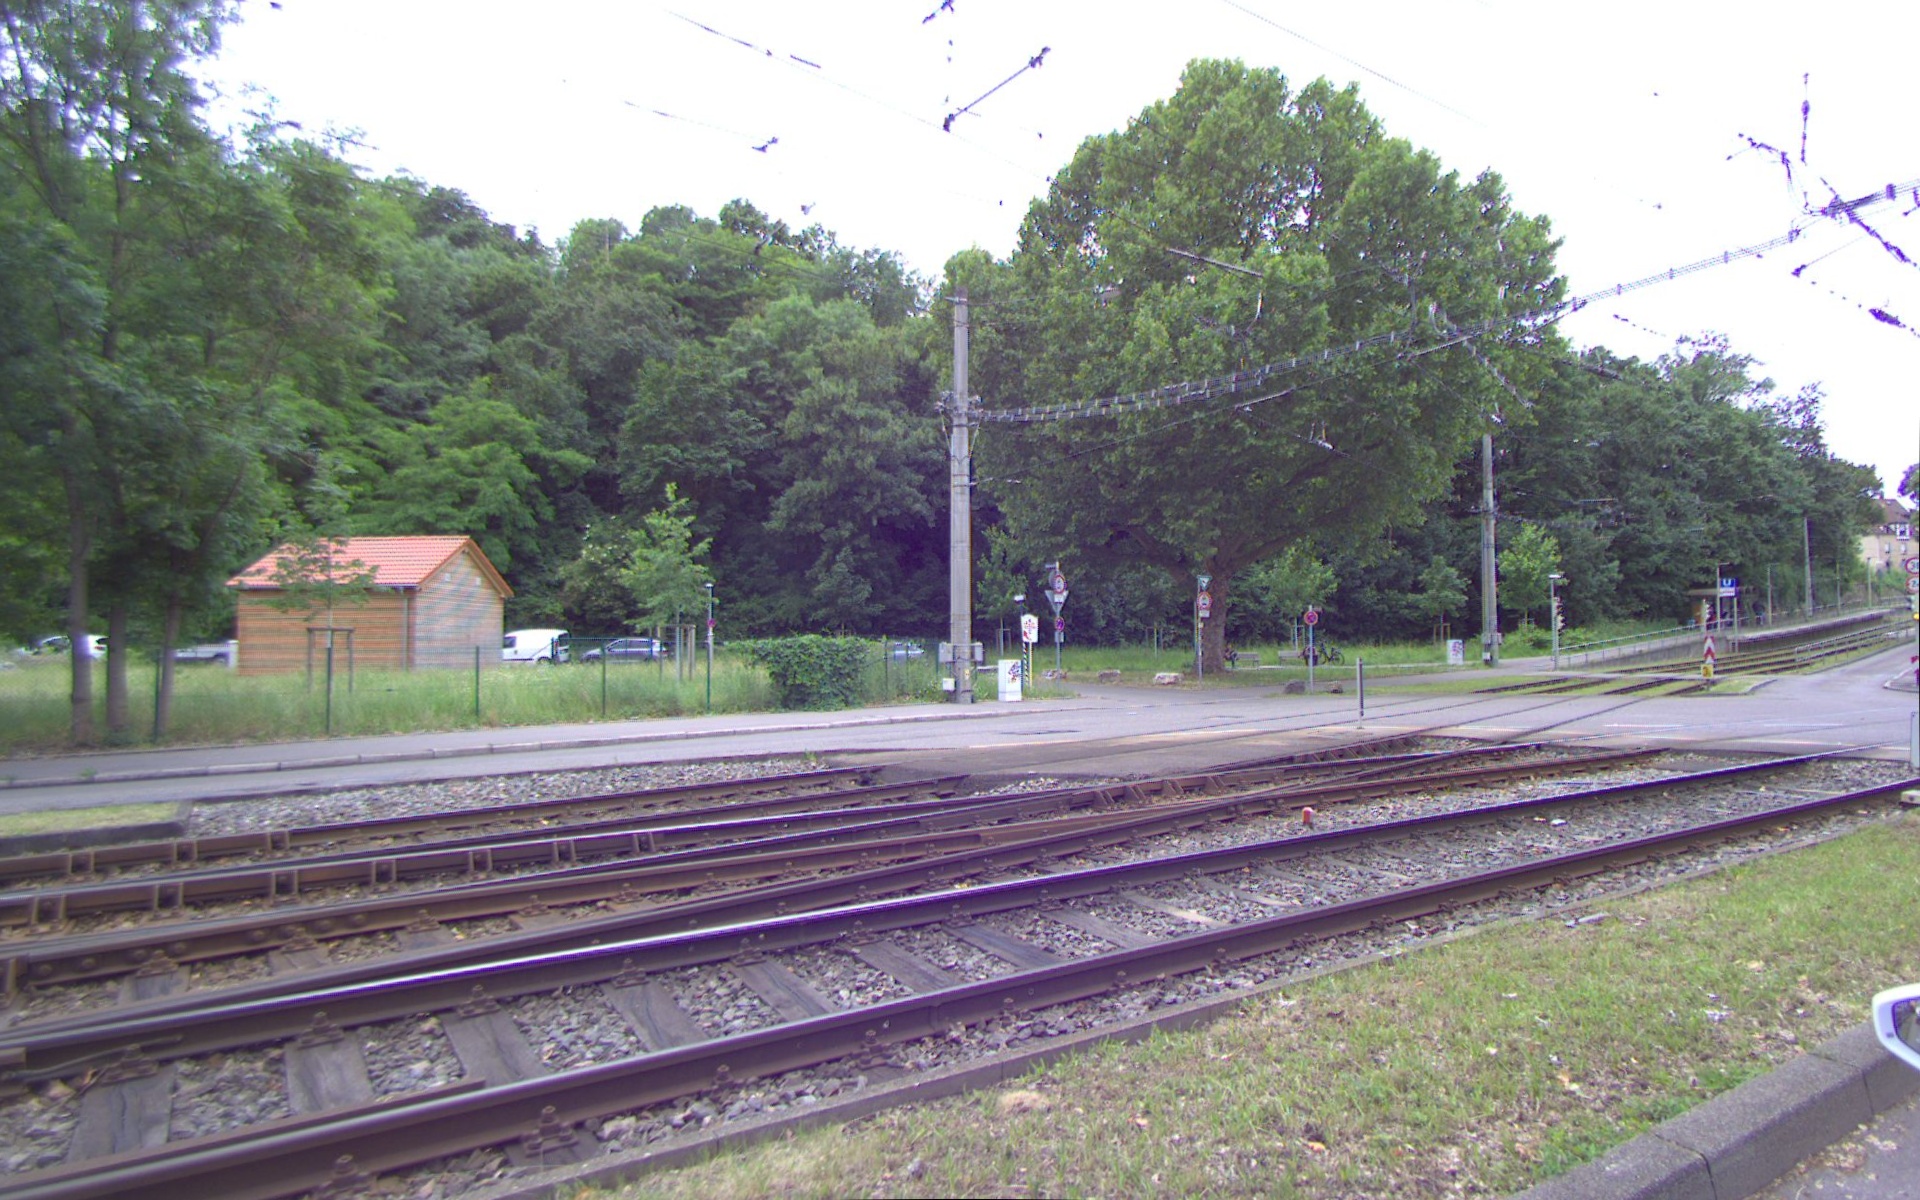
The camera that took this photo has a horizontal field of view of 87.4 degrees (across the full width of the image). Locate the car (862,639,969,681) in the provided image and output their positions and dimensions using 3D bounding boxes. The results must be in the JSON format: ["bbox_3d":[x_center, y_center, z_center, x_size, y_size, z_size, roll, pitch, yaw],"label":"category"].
[{"bbox_3d":[-2.126,2.832,48.173,4.985,1.913,2.355,0,-2,-2],"label":"car"}]

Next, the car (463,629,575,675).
[{"bbox_3d":[-20.378,2.374,46.548,4.319,2.040,1.999,0,-2,-5],"label":"car"}]

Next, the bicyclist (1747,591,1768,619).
[{"bbox_3d":[54.530,0.332,68.685,1.042,1.873,0.815,-2,-1,-38],"label":"bicyclist"}]

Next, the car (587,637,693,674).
[{"bbox_3d":[-14.797,2.555,46.662,4.320,1.603,1.999,0,-2,-6],"label":"car"}]

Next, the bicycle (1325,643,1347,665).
[{"bbox_3d":[18.590,2.677,49.657,0.662,1.025,1.654,2,-1,8],"label":"bicycle"}]

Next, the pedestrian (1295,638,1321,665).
[{"bbox_3d":[17.296,2.546,49.930,1.035,1.284,1.117,2,-1,8],"label":"pedestrian"}]

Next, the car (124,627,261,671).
[{"bbox_3d":[-30.719,1.941,40.279,3.921,1.683,2.000,0,-2,0],"label":"car"}]

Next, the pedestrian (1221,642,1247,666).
[{"bbox_3d":[13.430,2.629,49.308,1.059,1.110,0.906,2,-1,5],"label":"pedestrian"}]

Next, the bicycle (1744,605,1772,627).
[{"bbox_3d":[54.673,1.064,68.779,2.970,1.361,0.818,-2,-1,-39],"label":"bicycle"}]

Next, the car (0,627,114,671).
[{"bbox_3d":[-36.125,1.922,39.543,3.921,1.683,2.000,0,-2,0],"label":"car"}]
